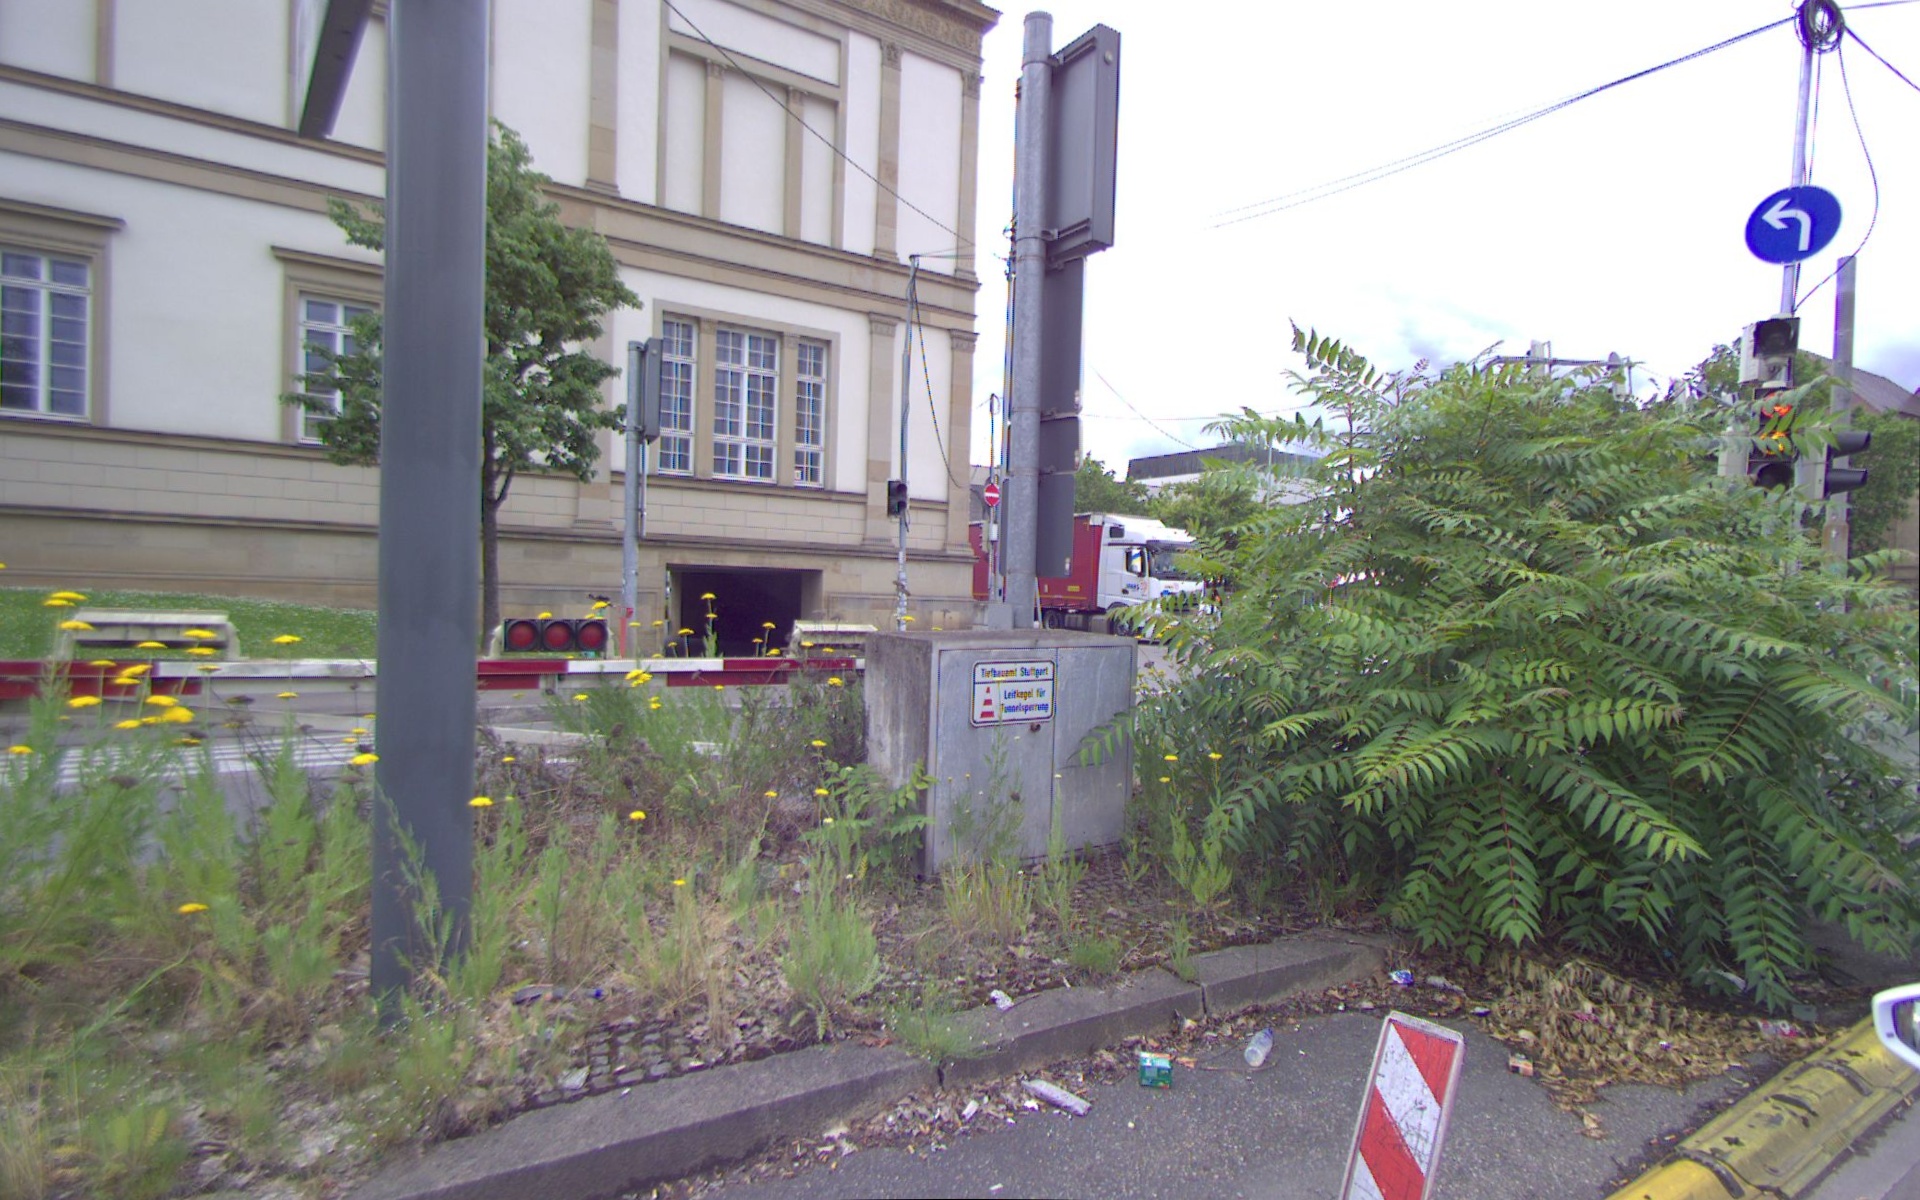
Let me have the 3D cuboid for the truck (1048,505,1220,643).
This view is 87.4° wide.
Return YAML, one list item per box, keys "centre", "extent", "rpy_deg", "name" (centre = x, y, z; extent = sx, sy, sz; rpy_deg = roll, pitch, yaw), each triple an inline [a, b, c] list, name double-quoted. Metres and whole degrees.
- centre: [5.582, -0.766, 32.803]
  extent: [2.915, 4.118, 4.846]
  rpy_deg: [2, 0, -34]
  name: "truck"

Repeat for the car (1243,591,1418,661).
- centre: [9.550, 0.638, 26.188]
  extent: [1.810, 1.646, 4.032]
  rpy_deg: [2, 0, -31]
  name: "car"

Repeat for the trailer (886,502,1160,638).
- centre: [1.766, -1.006, 38.716]
  extent: [2.916, 4.338, 13.662]
  rpy_deg: [2, 0, -33]
  name: "trailer"
